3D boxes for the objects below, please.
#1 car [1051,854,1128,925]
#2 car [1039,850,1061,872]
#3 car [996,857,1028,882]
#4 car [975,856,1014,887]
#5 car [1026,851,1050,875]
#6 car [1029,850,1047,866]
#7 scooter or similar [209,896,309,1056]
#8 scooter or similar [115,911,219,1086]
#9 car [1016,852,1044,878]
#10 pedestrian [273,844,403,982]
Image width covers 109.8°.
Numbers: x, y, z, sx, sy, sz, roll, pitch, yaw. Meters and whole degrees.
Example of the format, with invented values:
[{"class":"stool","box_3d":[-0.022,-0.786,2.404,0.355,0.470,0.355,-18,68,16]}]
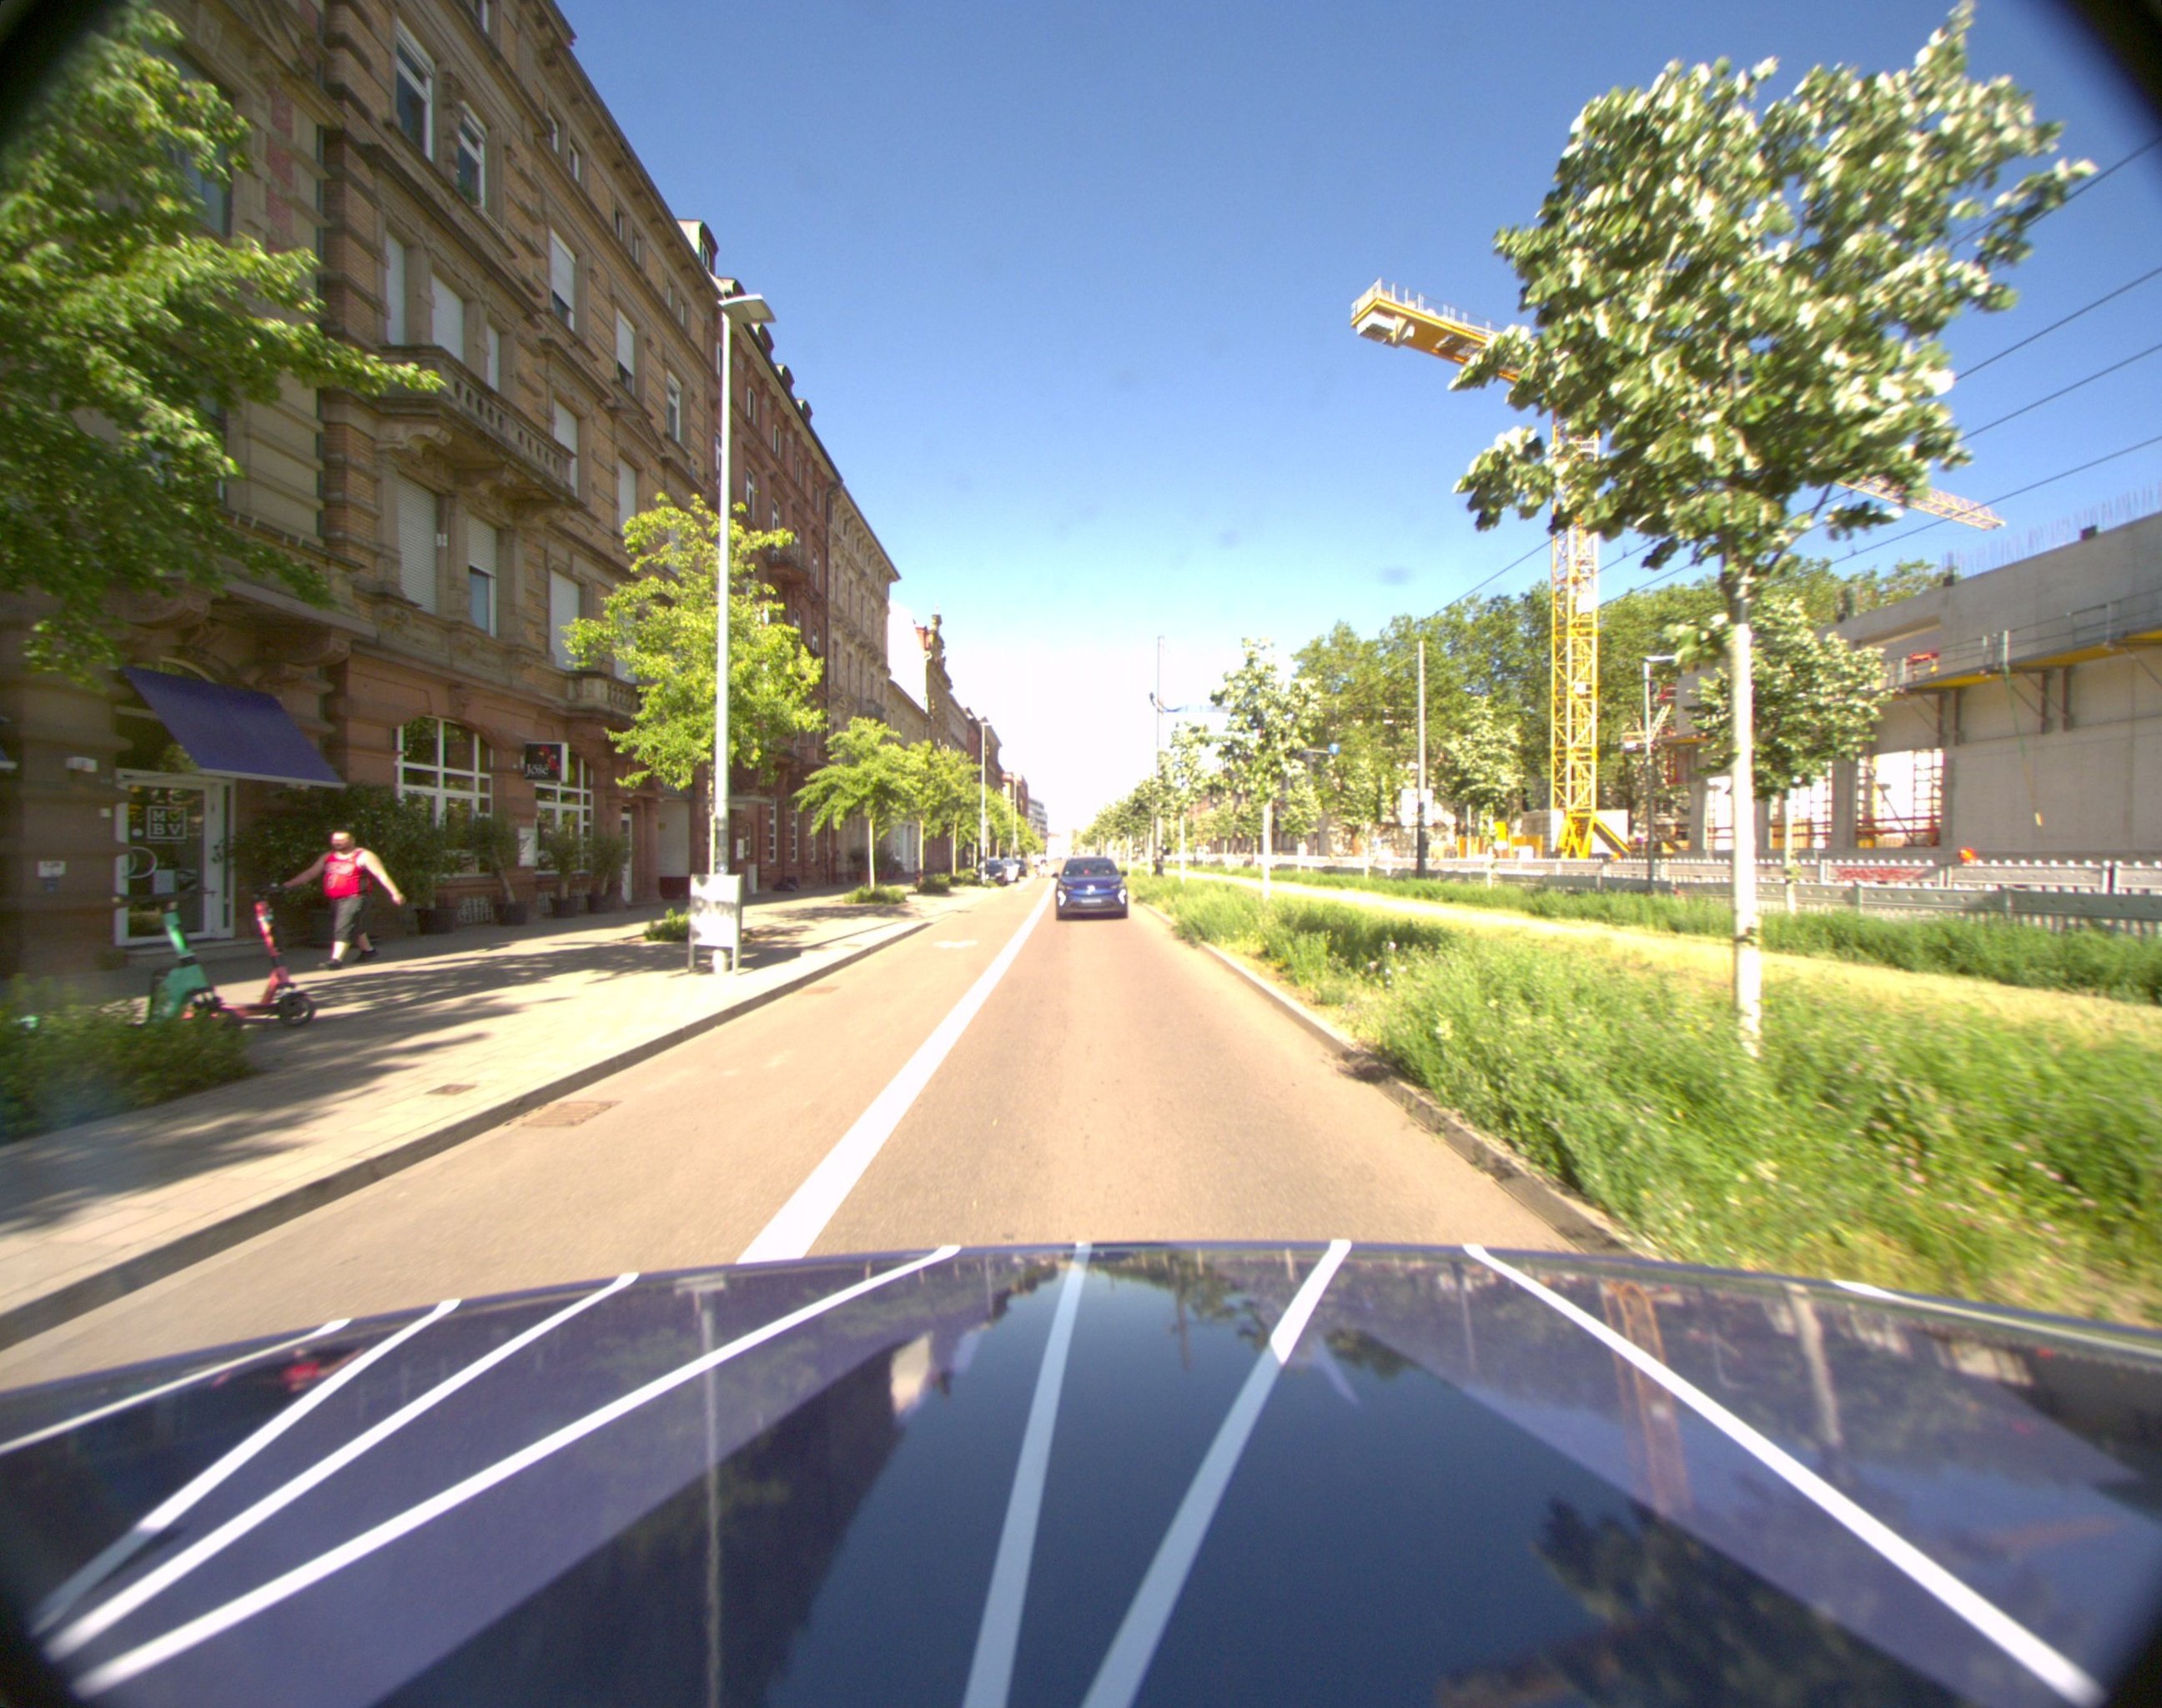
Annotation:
[{"class":"car","box_3d":[0.267,0.858,20.149,1.749,1.613,4.153,-3,0,2]},{"class":"car","box_3d":[-2.679,0.603,66.320,1.669,1.787,3.749,-2,1,1]},{"class":"car","box_3d":[-4.427,0.969,49.355,1.669,1.453,3.749,-2,1,1]},{"class":"car","box_3d":[-4.848,0.939,42.984,1.669,1.574,3.749,-2,1,1]},{"class":"car","box_3d":[-3.445,0.687,61.413,1.669,1.787,3.749,-2,1,1]},{"class":"car","box_3d":[-4.934,0.457,87.144,1.669,1.787,3.749,-2,1,1]},{"class":"scooter or similar","box_3d":[-6.684,0.966,6.180,0.672,1.213,0.328,0,1,23]},{"class":"scooter or similar","box_3d":[-6.577,1.011,5.468,0.636,1.166,0.290,0,1,23]},{"class":"car","box_3d":[-3.724,0.763,55.511,1.669,1.787,3.749,-2,1,1]},{"class":"pedestrian","box_3d":[-8.964,0.686,9.202,0.753,1.575,0.808,2,1,1]}]
